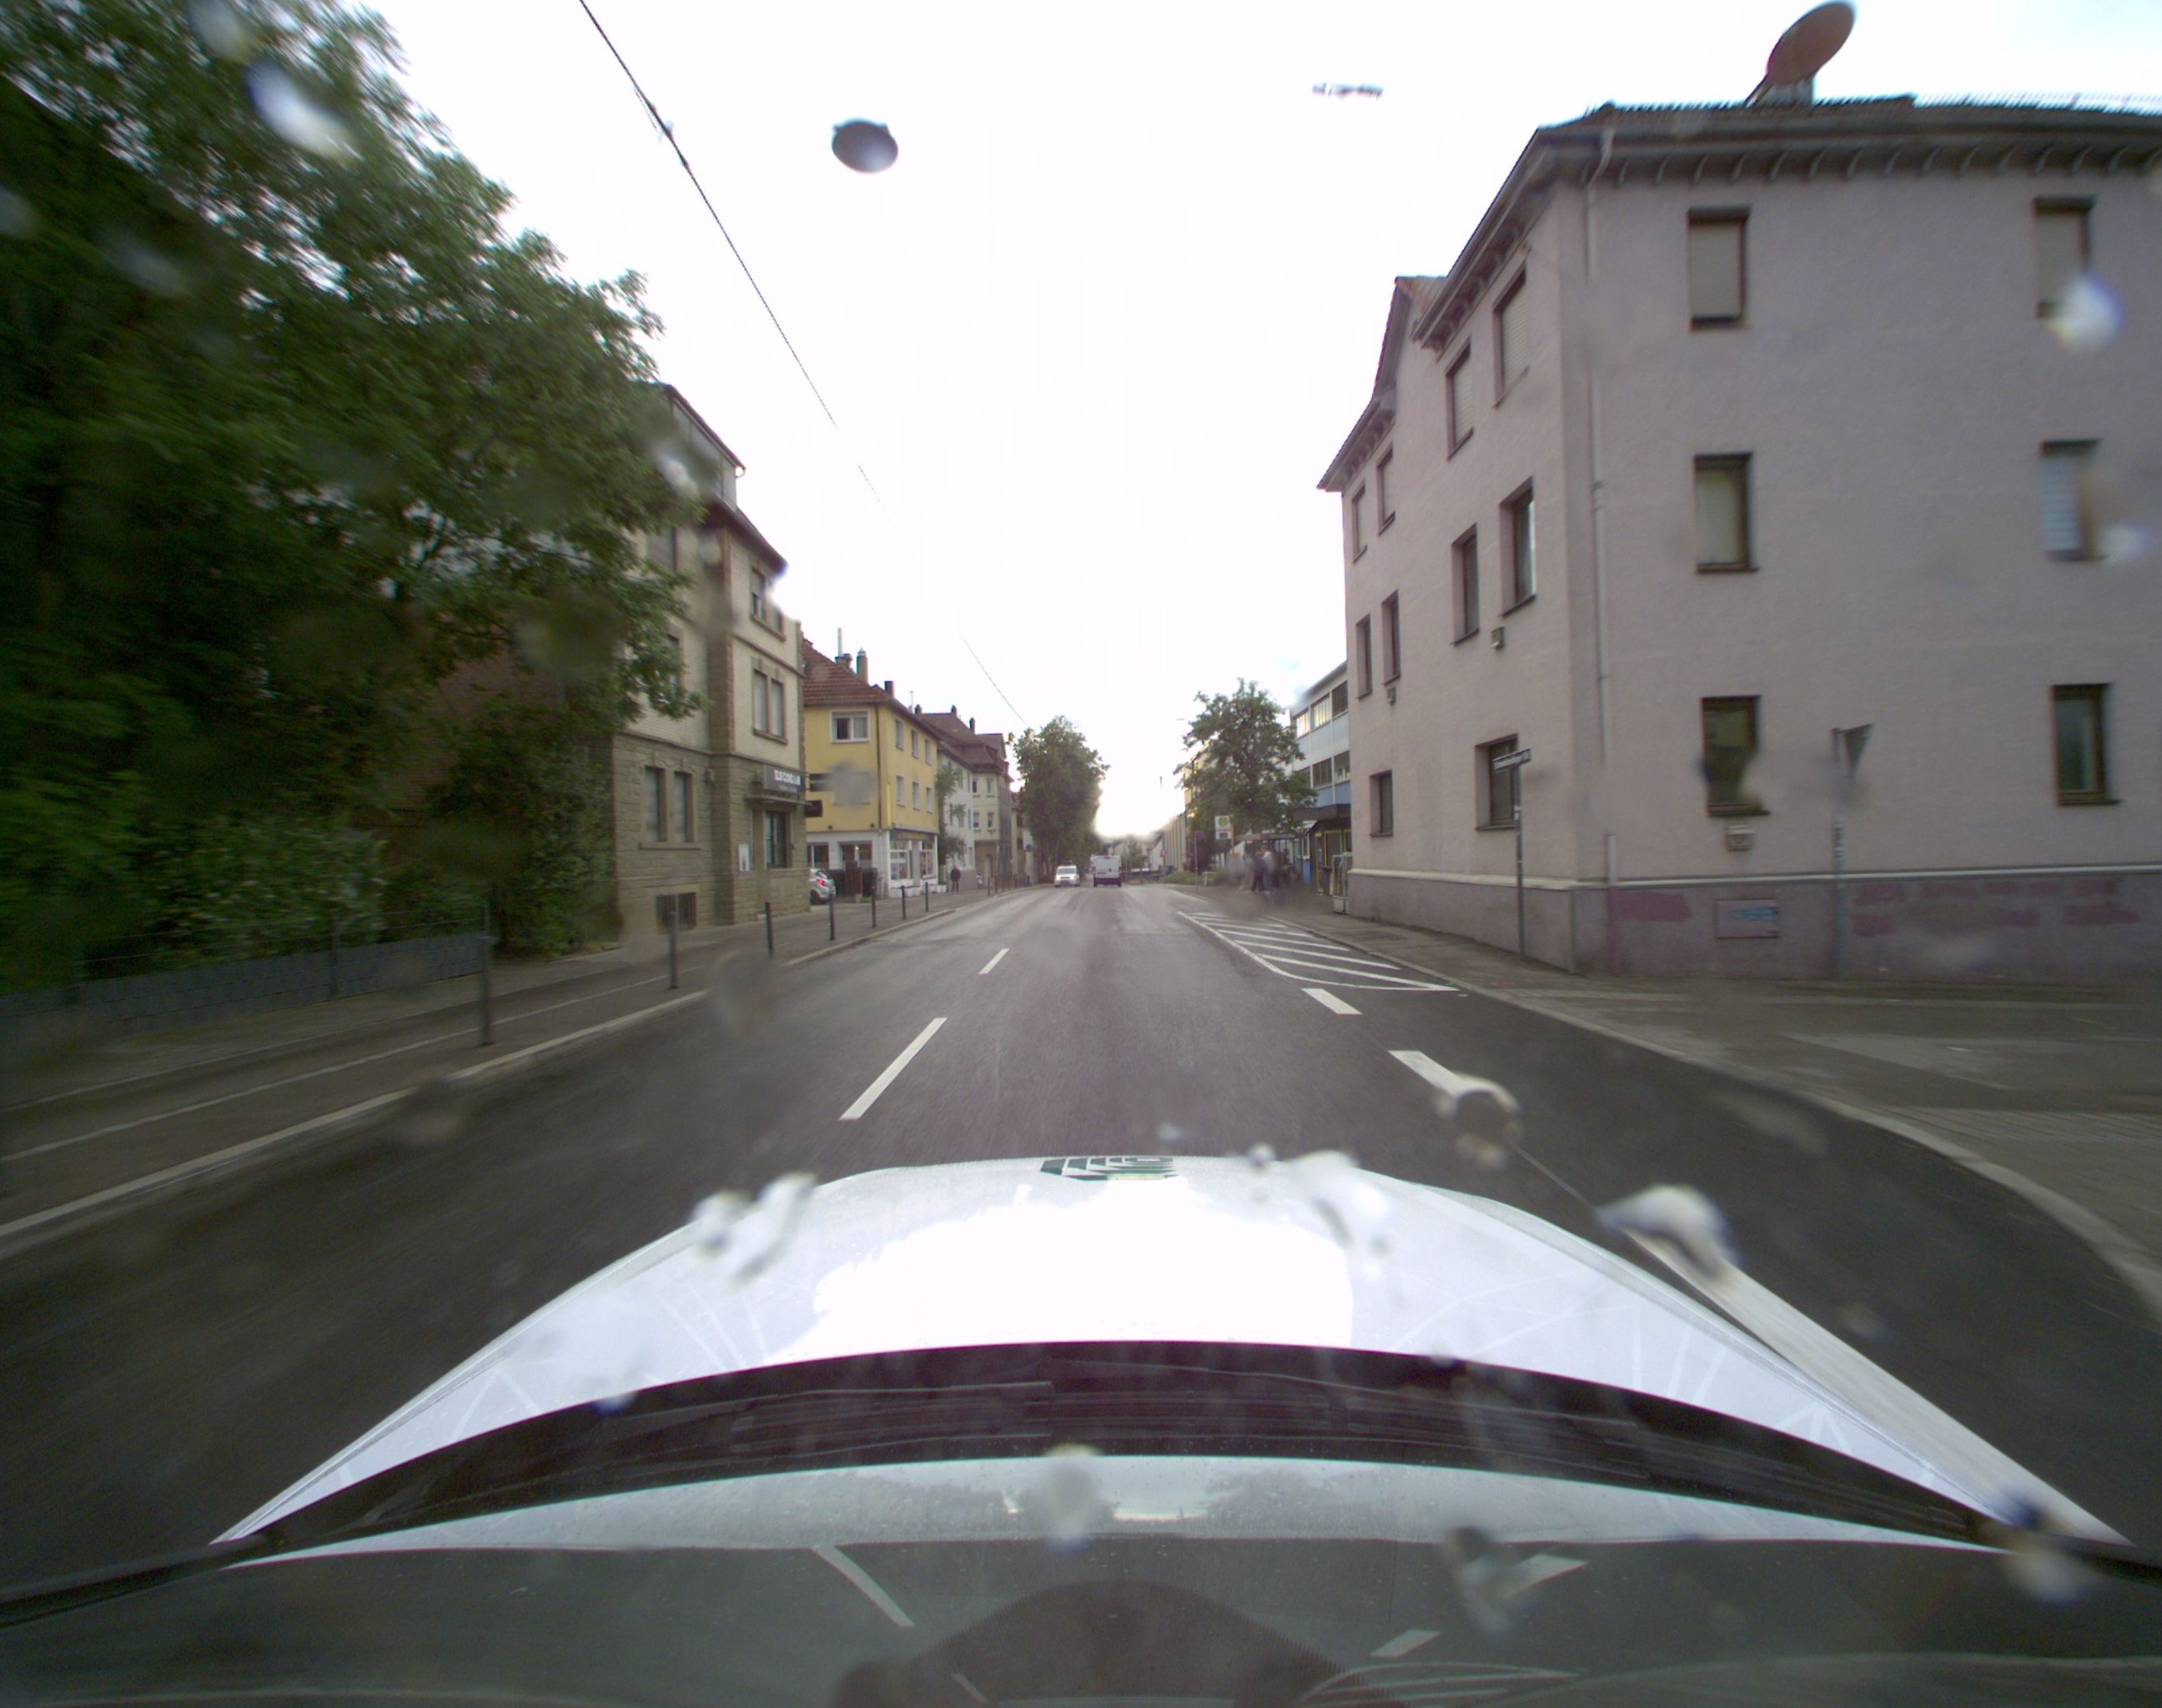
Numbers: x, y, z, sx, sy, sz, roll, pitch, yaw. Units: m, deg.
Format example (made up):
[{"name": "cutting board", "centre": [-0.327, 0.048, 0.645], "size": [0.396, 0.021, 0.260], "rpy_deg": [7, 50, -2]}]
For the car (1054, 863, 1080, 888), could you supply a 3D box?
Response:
[{"name": "car", "centre": [-1.103, 1.739, 66.388], "size": [1.875, 1.870, 4.454], "rpy_deg": [-2, -2, 2]}]

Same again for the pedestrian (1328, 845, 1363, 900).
[{"name": "pedestrian", "centre": [8.173, 0.571, 25.163], "size": [0.677, 1.625, 0.619], "rpy_deg": [-3, -1, -28]}]

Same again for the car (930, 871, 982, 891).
[{"name": "car", "centre": [-10.489, 2.249, 68.394], "size": [3.973, 1.453, 2.000], "rpy_deg": [2, -1, 0]}]

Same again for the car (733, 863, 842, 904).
[{"name": "car", "centre": [-11.459, 1.138, 31.975], "size": [3.554, 1.486, 1.946], "rpy_deg": [1, -1, -1]}]

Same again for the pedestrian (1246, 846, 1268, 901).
[{"name": "pedestrian", "centre": [6.073, 0.664, 28.093], "size": [0.458, 1.841, 0.604], "rpy_deg": [-4, -1, -4]}]

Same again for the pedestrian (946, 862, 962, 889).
[{"name": "pedestrian", "centre": [-7.926, 1.347, 50.844], "size": [0.813, 1.679, 0.992], "rpy_deg": [0, -2, -1]}]

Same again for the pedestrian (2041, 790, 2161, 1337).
[{"name": "pedestrian", "centre": [3.603, 0.625, 2.119], "size": [0.780, 1.642, 1.224], "rpy_deg": [0, -1, 5]}]

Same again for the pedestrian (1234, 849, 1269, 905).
[{"name": "pedestrian", "centre": [5.418, 0.741, 25.912], "size": [0.639, 1.710, 0.741], "rpy_deg": [-3, -1, -33]}]

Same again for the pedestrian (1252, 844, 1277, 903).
[{"name": "pedestrian", "centre": [5.946, 0.617, 26.392], "size": [0.481, 1.875, 0.637], "rpy_deg": [-4, -1, 34]}]

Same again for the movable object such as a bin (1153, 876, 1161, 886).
[{"name": "movable object such as a bin", "centre": [8.481, 2.983, 90.946], "size": [0.692, 1.082, 0.779], "rpy_deg": [-4, -2, 2]}]

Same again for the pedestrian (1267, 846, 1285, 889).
[{"name": "pedestrian", "centre": [8.543, 0.603, 35.615], "size": [0.642, 1.831, 0.744], "rpy_deg": [-3, -1, 15]}]

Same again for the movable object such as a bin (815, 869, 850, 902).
[{"name": "movable object such as a bin", "centre": [-11.252, 1.409, 36.872], "size": [1.242, 1.439, 0.983], "rpy_deg": [-1, -1, 0]}]

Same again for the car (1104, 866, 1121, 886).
[{"name": "car", "centre": [3.481, 2.428, 91.082], "size": [1.789, 2.013, 4.002], "rpy_deg": [-1, 0, 2]}]

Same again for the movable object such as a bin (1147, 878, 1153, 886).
[{"name": "movable object such as a bin", "centre": [7.699, 3.112, 90.794], "size": [0.617, 0.936, 0.686], "rpy_deg": [-4, -2, 2]}]

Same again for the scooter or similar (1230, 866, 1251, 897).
[{"name": "scooter or similar", "centre": [6.023, 1.024, 30.727], "size": [0.616, 1.140, 0.567], "rpy_deg": [-3, -1, -4]}]

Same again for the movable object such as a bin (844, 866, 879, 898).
[{"name": "movable object such as a bin", "centre": [-9.937, 1.259, 36.885], "size": [1.297, 1.402, 0.983], "rpy_deg": [-1, -1, 1]}]

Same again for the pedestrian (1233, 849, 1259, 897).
[{"name": "pedestrian", "centre": [6.088, 0.700, 30.021], "size": [0.659, 1.741, 0.828], "rpy_deg": [-2, -1, -4]}]

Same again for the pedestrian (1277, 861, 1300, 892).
[{"name": "pedestrian", "centre": [8.331, 0.910, 32.765], "size": [0.659, 1.199, 0.740], "rpy_deg": [-2, -1, -4]}]

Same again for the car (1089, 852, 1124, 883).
[{"name": "car", "centre": [1.851, 1.000, 60.543], "size": [2.339, 2.160, 4.775], "rpy_deg": [-1, 0, -1]}]

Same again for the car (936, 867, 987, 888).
[{"name": "car", "centre": [-10.814, 2.113, 73.908], "size": [4.167, 1.704, 2.000], "rpy_deg": [2, -1, 1]}]

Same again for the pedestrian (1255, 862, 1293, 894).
[{"name": "pedestrian", "centre": [8.142, 1.024, 34.301], "size": [1.353, 1.273, 0.740], "rpy_deg": [-2, -1, -4]}]

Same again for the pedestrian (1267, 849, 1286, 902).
[{"name": "pedestrian", "centre": [6.466, 0.693, 26.881], "size": [0.442, 1.708, 0.560], "rpy_deg": [-4, -1, 19]}]
